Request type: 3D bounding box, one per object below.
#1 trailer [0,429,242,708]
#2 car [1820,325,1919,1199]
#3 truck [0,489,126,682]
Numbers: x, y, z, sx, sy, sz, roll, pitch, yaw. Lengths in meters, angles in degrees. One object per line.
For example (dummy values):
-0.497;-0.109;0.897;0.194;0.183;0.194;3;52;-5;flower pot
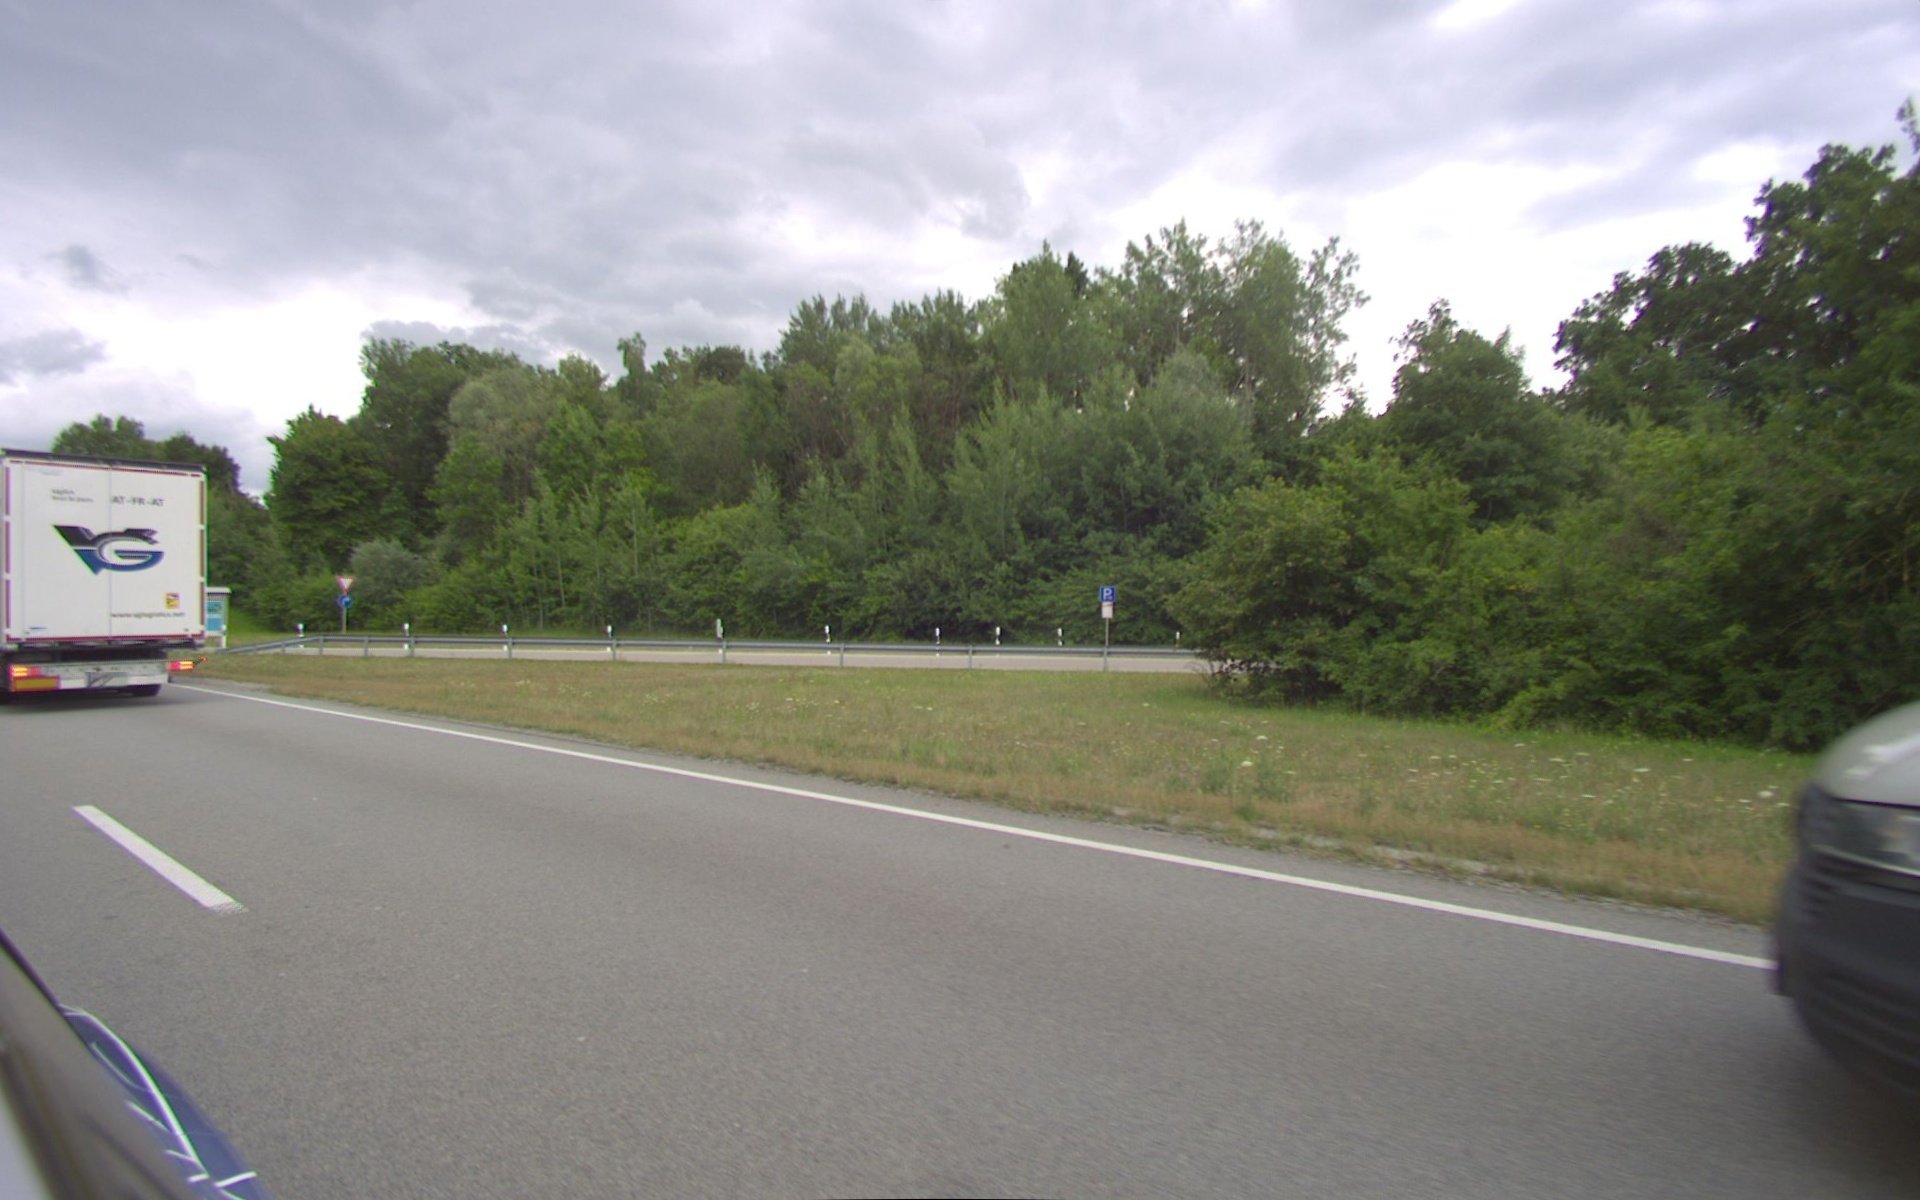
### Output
-18.541;-0.394;20.574;14.264;4.097;3.170;-1;0;41;trailer
4.753;0.355;1.089;5.808;1.955;1.973;-1;0;41;car
-23.613;-0.256;24.960;9.571;4.093;3.157;-1;0;41;truck
